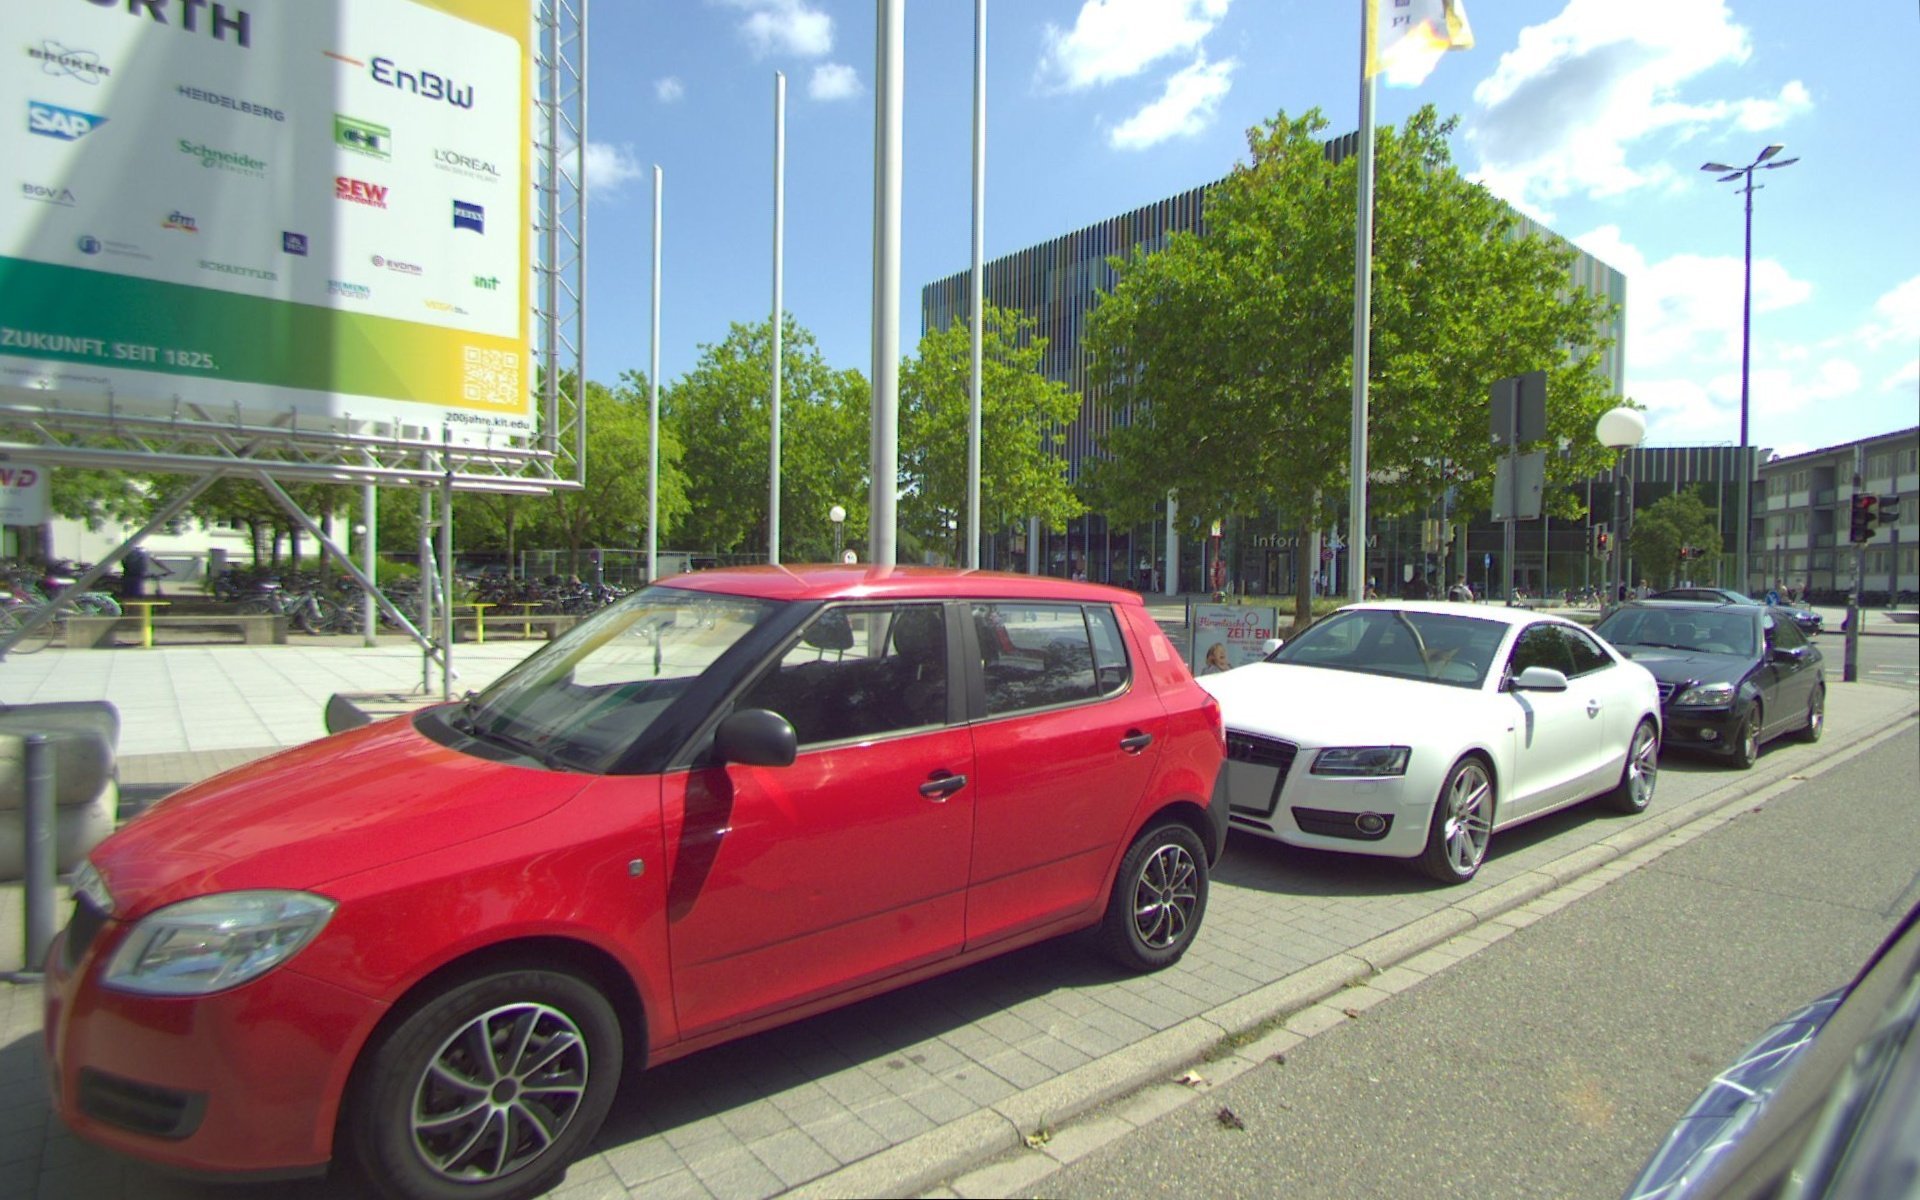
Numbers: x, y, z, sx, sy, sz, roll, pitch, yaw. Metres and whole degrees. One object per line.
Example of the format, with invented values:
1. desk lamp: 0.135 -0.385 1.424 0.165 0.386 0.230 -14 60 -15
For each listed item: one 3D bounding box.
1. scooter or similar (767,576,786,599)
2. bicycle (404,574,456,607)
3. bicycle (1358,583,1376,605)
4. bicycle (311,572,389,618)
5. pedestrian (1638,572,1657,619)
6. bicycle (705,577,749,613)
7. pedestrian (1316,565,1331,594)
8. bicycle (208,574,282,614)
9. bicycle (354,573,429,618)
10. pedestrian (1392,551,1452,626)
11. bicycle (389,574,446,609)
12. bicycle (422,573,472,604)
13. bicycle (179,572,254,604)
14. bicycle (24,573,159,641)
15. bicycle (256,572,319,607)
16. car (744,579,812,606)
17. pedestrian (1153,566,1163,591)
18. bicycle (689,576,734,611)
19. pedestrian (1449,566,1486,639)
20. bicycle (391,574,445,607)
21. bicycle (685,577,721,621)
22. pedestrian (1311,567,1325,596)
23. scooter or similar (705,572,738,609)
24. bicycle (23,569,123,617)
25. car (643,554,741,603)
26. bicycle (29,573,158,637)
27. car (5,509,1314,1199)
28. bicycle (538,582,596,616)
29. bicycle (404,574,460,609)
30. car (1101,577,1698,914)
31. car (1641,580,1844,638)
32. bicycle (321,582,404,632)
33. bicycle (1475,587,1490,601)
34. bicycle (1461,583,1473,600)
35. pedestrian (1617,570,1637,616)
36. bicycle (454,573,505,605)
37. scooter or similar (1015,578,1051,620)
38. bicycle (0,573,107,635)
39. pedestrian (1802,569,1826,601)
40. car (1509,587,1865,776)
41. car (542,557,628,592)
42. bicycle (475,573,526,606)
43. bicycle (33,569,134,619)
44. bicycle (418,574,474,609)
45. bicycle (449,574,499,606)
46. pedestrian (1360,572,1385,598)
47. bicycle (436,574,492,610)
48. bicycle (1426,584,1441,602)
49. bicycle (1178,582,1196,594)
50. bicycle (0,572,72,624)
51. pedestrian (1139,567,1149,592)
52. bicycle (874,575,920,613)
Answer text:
1. scooter or similar: -9.609 -0.662 52.979 0.519 1.184 1.577 2 0 -26
2. bicycle: -19.002 -0.364 36.316 0.509 1.112 1.757 0 3 19
3. bicycle: 24.315 -0.371 60.463 1.520 1.201 0.373 -3 4 -41
4. bicycle: -15.943 -0.147 26.483 0.596 1.112 1.757 0 3 19
5. pedestrian: 27.746 -0.183 40.835 0.572 1.864 0.410 1 2 39
6. bicycle: -7.807 -0.184 33.977 0.596 1.112 1.757 0 3 20
7. pedestrian: 23.772 -1.343 66.176 0.677 1.864 0.679 -1 2 -32
8. bicycle: -21.363 -0.185 30.271 0.596 1.112 1.757 0 3 19
9. bicycle: -15.070 -0.129 26.877 0.596 1.112 1.757 0 3 19
10. pedestrian: 12.207 -0.305 26.727 1.154 1.842 0.856 5 0 -37
11. bicycle: -18.780 -0.305 35.075 0.596 1.112 1.757 0 3 20
12. bicycle: -19.459 -0.465 38.457 0.596 1.112 1.757 0 3 19
13. bicycle: -22.307 -0.365 30.401 0.596 0.880 1.757 0 3 19
14. bicycle: -15.527 0.089 18.151 0.596 1.112 1.757 0 3 19
15. bicycle: -22.802 -0.364 34.343 0.596 1.112 1.757 0 3 19
16. car: -10.864 -0.477 60.154 1.829 1.497 4.937 2 -1 -39
17. pedestrian: 14.823 -1.638 75.668 0.552 1.864 0.553 1 2 43
18. bicycle: -8.419 -0.246 34.313 0.596 1.112 1.757 0 3 20
19. pedestrian: 12.955 0.061 25.829 0.599 1.823 0.595 2 -1 1
20. bicycle: -19.559 -0.371 36.571 0.585 1.112 1.757 0 3 19
21. bicycle: -6.976 -0.037 27.435 0.595 1.152 1.591 2 1 -26
22. pedestrian: 23.008 -1.184 64.974 0.781 1.865 0.513 1 1 26
23. scooter or similar: -8.453 -0.345 35.869 0.279 1.248 1.282 3 3 36
24. bicycle: -21.863 -0.186 24.983 0.596 1.112 1.757 0 3 19
25. car: -11.058 -0.927 41.543 1.871 1.887 4.933 -1 3 -42
26. bicycle: -16.221 0.065 18.994 0.596 1.112 1.757 0 3 19
27. car: -0.583 0.547 3.670 4.073 1.514 1.618 0 3 -40
28. bicycle: -11.526 -0.042 29.740 0.596 0.966 1.756 0 1 20
29. bicycle: -18.130 -0.315 34.820 0.596 1.112 1.757 0 3 20
30. car: 3.053 0.617 6.555 4.360 1.416 1.723 -1 4 -40
31. car: 21.759 0.190 28.293 1.797 1.433 4.189 -2 2 -37
32. bicycle: -14.439 0.148 24.514 0.596 1.112 1.757 0 3 19
33. bicycle: 30.398 -0.374 58.888 0.522 0.773 1.763 1 2 18
34. bicycle: 29.670 -0.517 59.232 0.525 0.967 1.755 1 2 30
35. pedestrian: 27.161 -0.283 41.213 0.629 1.864 0.474 1 2 37
36. bicycle: -17.498 -0.410 36.887 0.596 1.112 1.757 0 3 20
37. scooter or similar: 2.174 -0.039 30.032 0.347 1.179 1.192 -2 3 -39
38. bicycle: -18.065 0.053 20.008 0.596 1.112 1.757 0 3 19
39. pedestrian: 48.167 -0.844 57.078 0.833 1.812 0.673 1 1 21
40. car: 7.517 0.619 10.248 4.860 1.417 1.723 -1 4 -40
41. car: -20.513 -1.449 55.433 3.933 1.804 1.996 -3 4 -42
42. bicycle: -16.543 -0.400 36.478 0.596 1.112 1.757 0 3 20
43. bicycle: -21.142 -0.168 24.453 0.596 1.112 1.757 0 3 19
44. bicycle: -17.488 -0.292 34.498 0.596 1.112 1.757 0 3 20
45. bicycle: -18.248 -0.390 38.034 0.596 1.112 1.757 0 3 19
46. pedestrian: 26.682 -0.958 65.454 1.161 1.671 1.014 0 1 -39
47. bicycle: -16.717 -0.283 34.145 0.596 1.112 1.757 0 3 20
48. bicycle: 28.010 -0.421 59.890 0.368 0.967 1.768 1 2 11
49. bicycle: 16.134 -0.847 71.950 1.518 0.785 0.373 -3 3 -36
50. bicycle: -20.998 -0.055 22.524 0.596 1.112 1.757 0 3 19
51. pedestrian: 14.029 -1.586 77.100 0.552 1.864 0.553 1 2 43
52. bicycle: -2.142 -0.217 34.243 0.784 1.197 2.034 -1 3 -28
